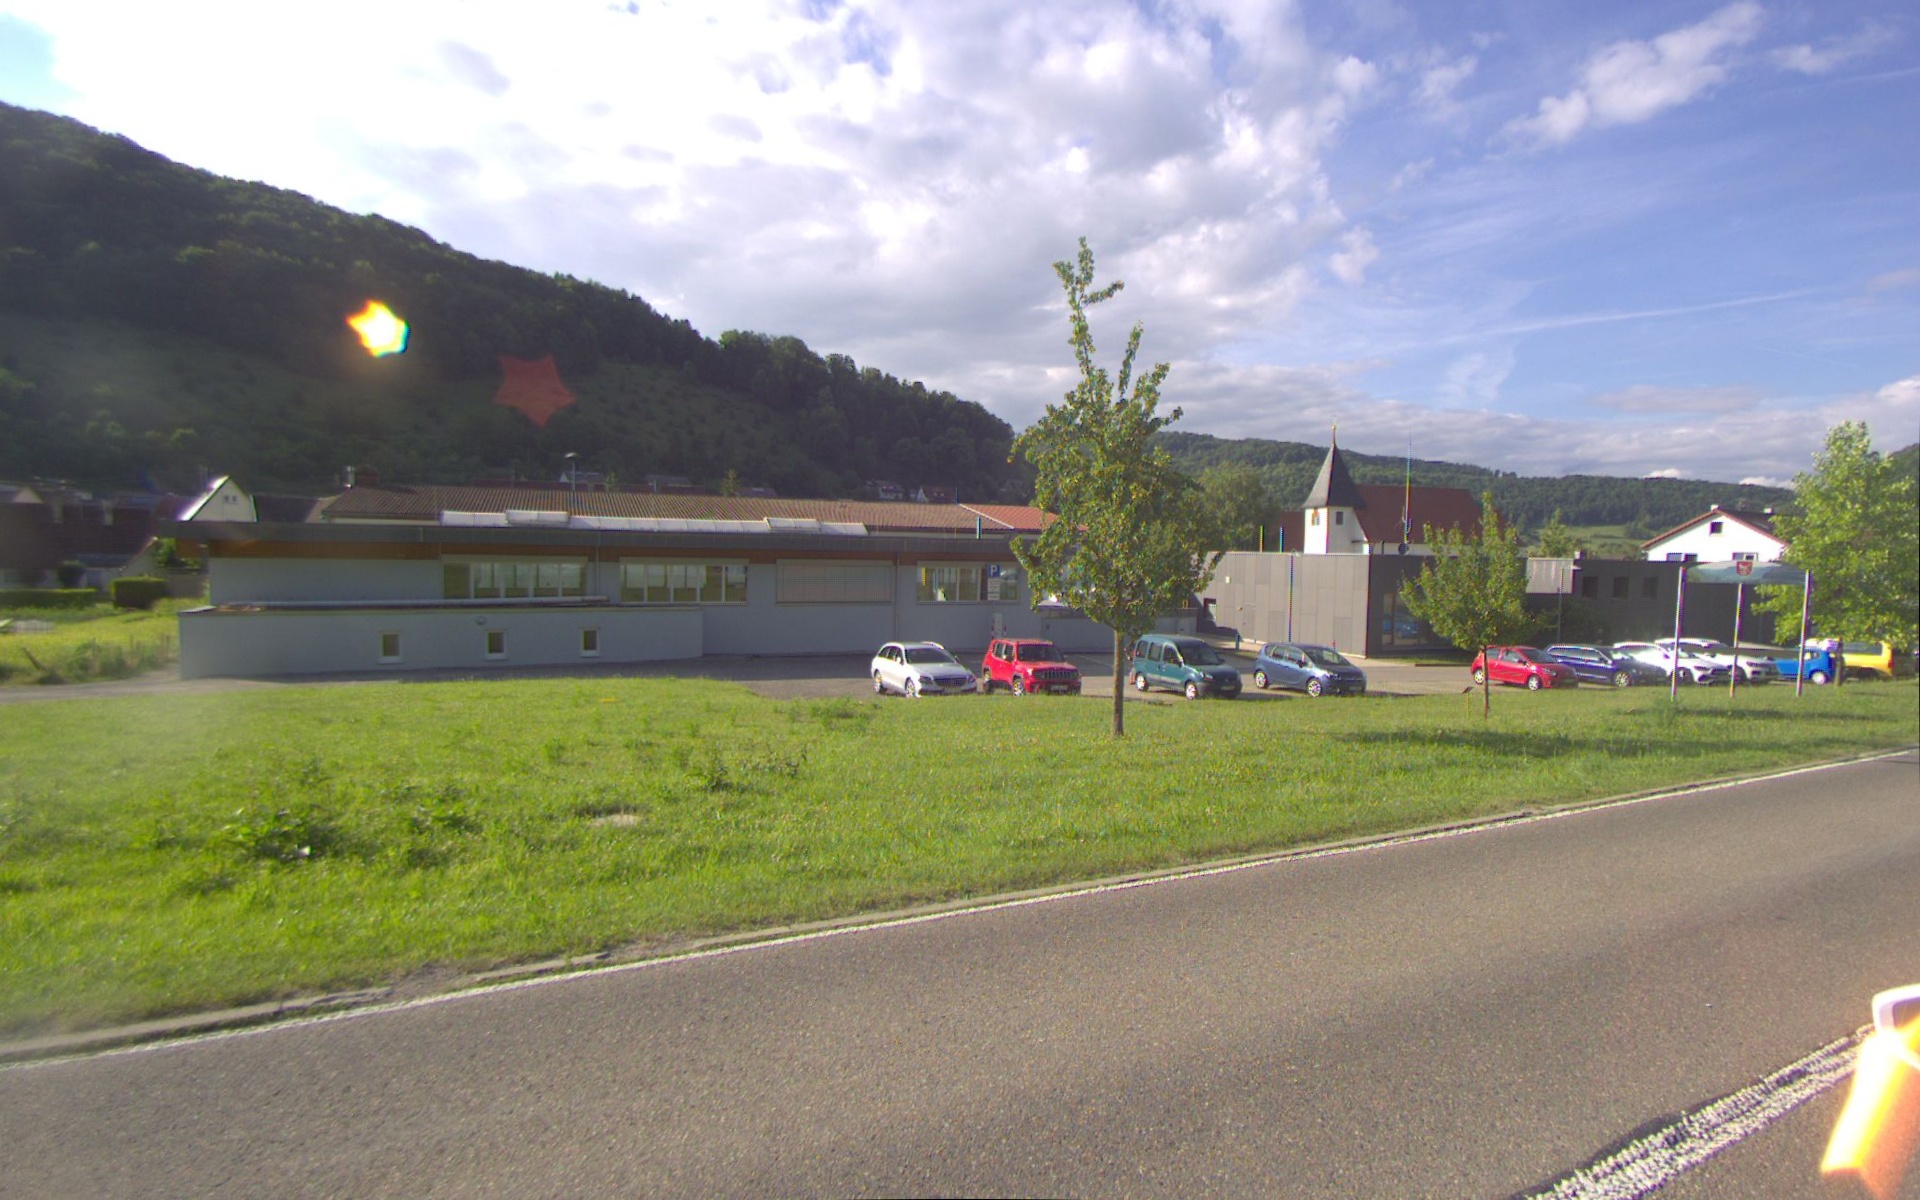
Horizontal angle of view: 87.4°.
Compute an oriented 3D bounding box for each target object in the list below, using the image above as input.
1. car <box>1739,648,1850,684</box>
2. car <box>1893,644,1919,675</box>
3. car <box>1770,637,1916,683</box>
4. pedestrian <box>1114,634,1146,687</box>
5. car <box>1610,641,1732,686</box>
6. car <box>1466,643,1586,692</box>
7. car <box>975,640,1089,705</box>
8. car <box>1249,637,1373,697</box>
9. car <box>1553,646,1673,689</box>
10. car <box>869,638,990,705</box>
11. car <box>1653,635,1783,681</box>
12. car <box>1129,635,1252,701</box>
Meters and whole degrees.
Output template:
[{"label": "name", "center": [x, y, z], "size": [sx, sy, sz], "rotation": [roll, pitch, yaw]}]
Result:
[{"label": "car", "center": [36.232, 2.838, 43.679], "size": [1.640, 1.392, 3.355], "rotation": [2, -1, -28]}, {"label": "car", "center": [47.871, 2.928, 48.618], "size": [1.487, 1.458, 3.707], "rotation": [1, -1, -21]}, {"label": "car", "center": [38.741, 2.593, 44.210], "size": [1.814, 1.839, 4.546], "rotation": [1, -1, -21]}, {"label": "pedestrian", "center": [5.771, 2.041, 34.126], "size": [0.695, 1.716, 0.792], "rotation": [1, 1, -25]}, {"label": "car", "center": [27.975, 2.453, 39.633], "size": [1.573, 1.514, 3.660], "rotation": [-1, 0, -21]}, {"label": "car", "center": [20.487, 2.403, 36.529], "size": [1.624, 1.463, 3.618], "rotation": [0, 1, -21]}, {"label": "car", "center": [1.987, 2.014, 28.793], "size": [1.730, 1.600, 3.912], "rotation": [1, -1, -22]}, {"label": "car", "center": [11.287, 2.121, 32.549], "size": [1.707, 1.744, 3.811], "rotation": [1, -1, -22]}, {"label": "car", "center": [25.003, 2.561, 38.570], "size": [1.573, 1.423, 3.619], "rotation": [4, -2, -21]}, {"label": "car", "center": [-0.971, 1.945, 28.390], "size": [1.971, 1.610, 4.632], "rotation": [1, -1, -22]}, {"label": "car", "center": [30.958, 2.345, 41.161], "size": [1.573, 1.695, 4.071], "rotation": [1, -1, -21]}, {"label": "car", "center": [7.037, 2.027, 30.986], "size": [1.731, 1.745, 3.851], "rotation": [1, 0, -24]}]
